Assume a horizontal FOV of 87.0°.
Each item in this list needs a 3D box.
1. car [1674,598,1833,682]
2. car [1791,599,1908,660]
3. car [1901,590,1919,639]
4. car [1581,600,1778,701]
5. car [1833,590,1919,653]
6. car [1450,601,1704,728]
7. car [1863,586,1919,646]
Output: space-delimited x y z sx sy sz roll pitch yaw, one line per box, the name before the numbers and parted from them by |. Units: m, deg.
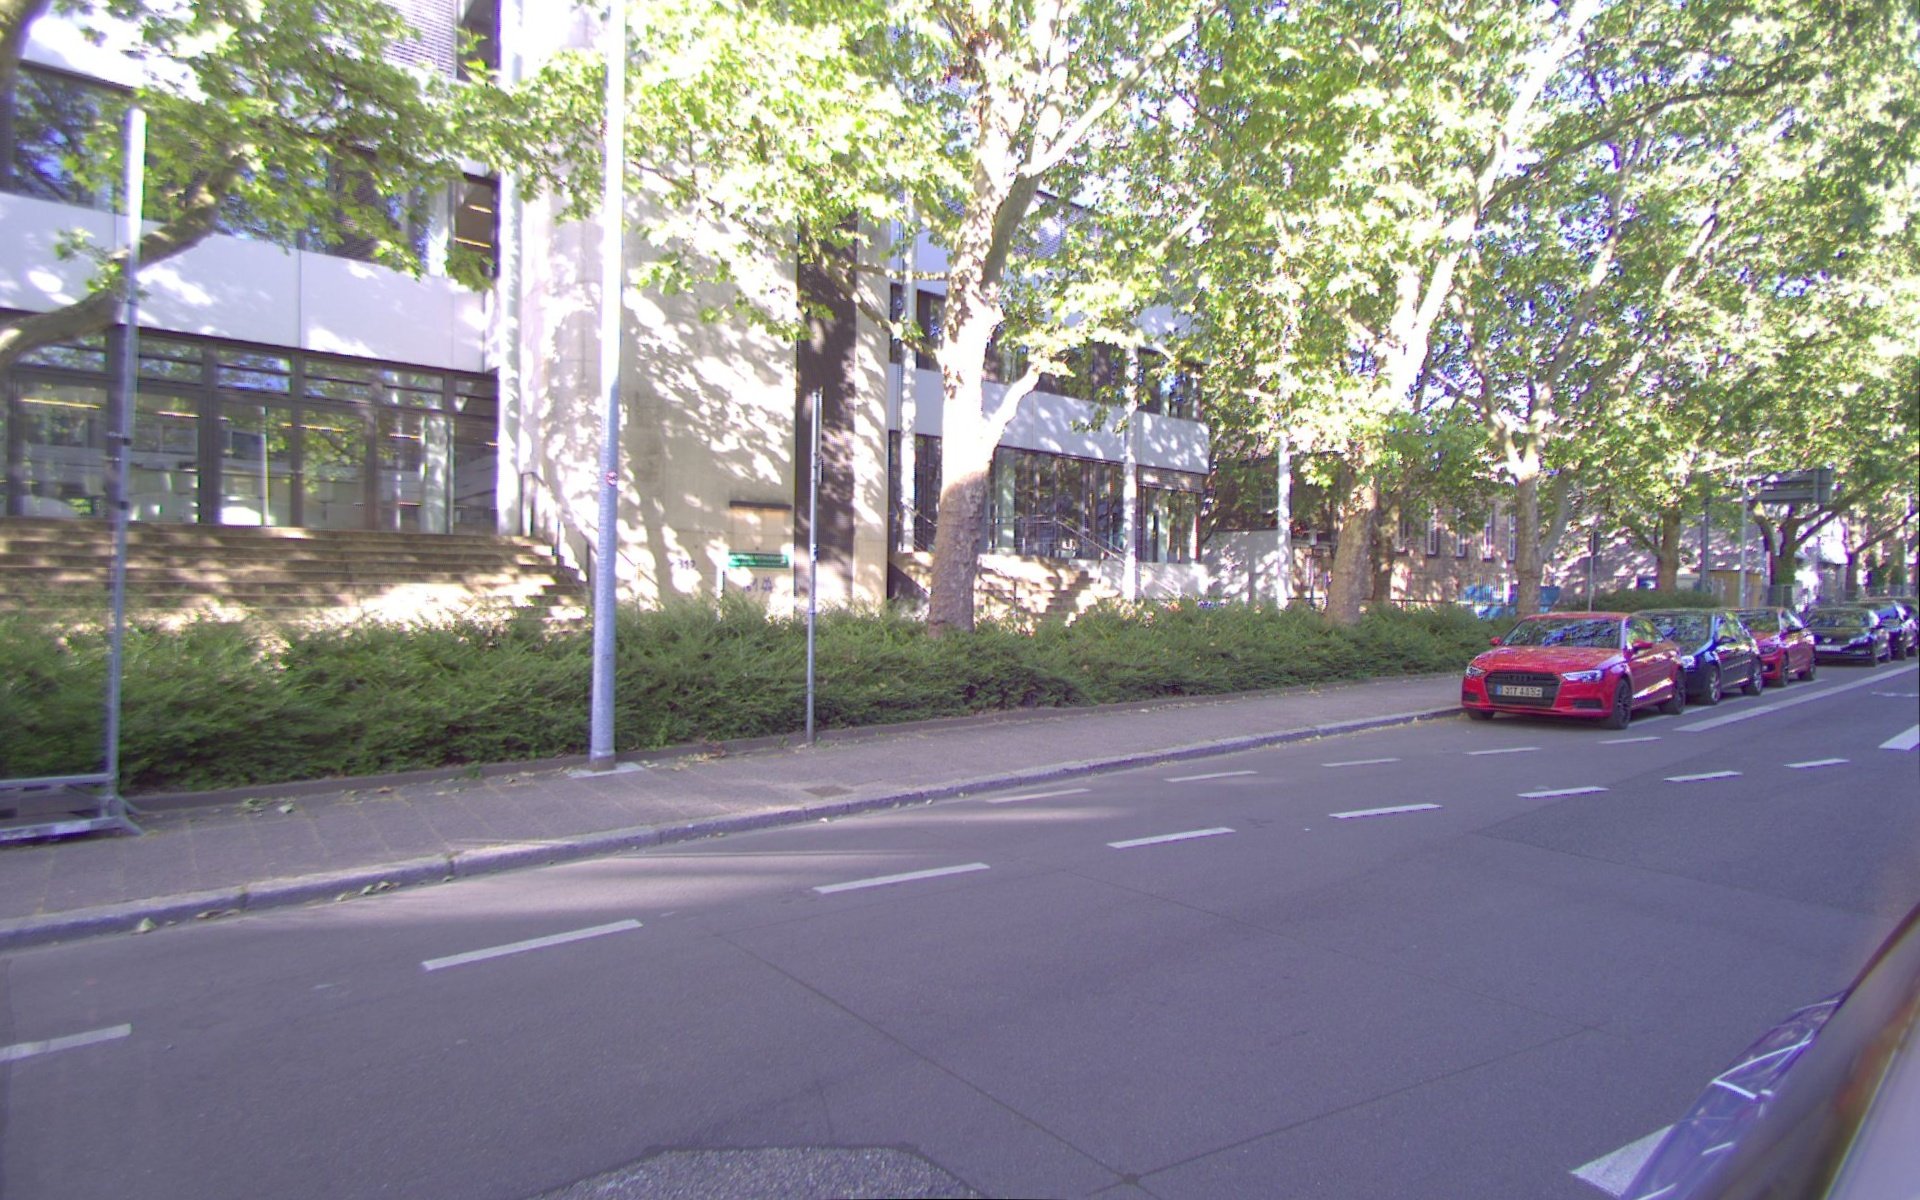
car | 15.699 0.724 19.963 3.841 1.486 1.753 0 -1 -41
car | 22.945 0.720 26.062 3.841 1.451 1.753 0 -1 -41
car | 36.192 0.520 37.261 4.370 1.750 1.753 0 -1 -41
car | 11.847 0.743 16.587 3.841 1.451 1.753 0 -1 -41
car | 26.711 0.590 29.174 4.101 1.674 1.753 0 -1 -41
car | 8.272 0.745 13.442 3.930 1.427 1.753 0 -1 -41
car | 30.969 0.490 32.965 4.370 1.843 1.753 0 -1 -41
